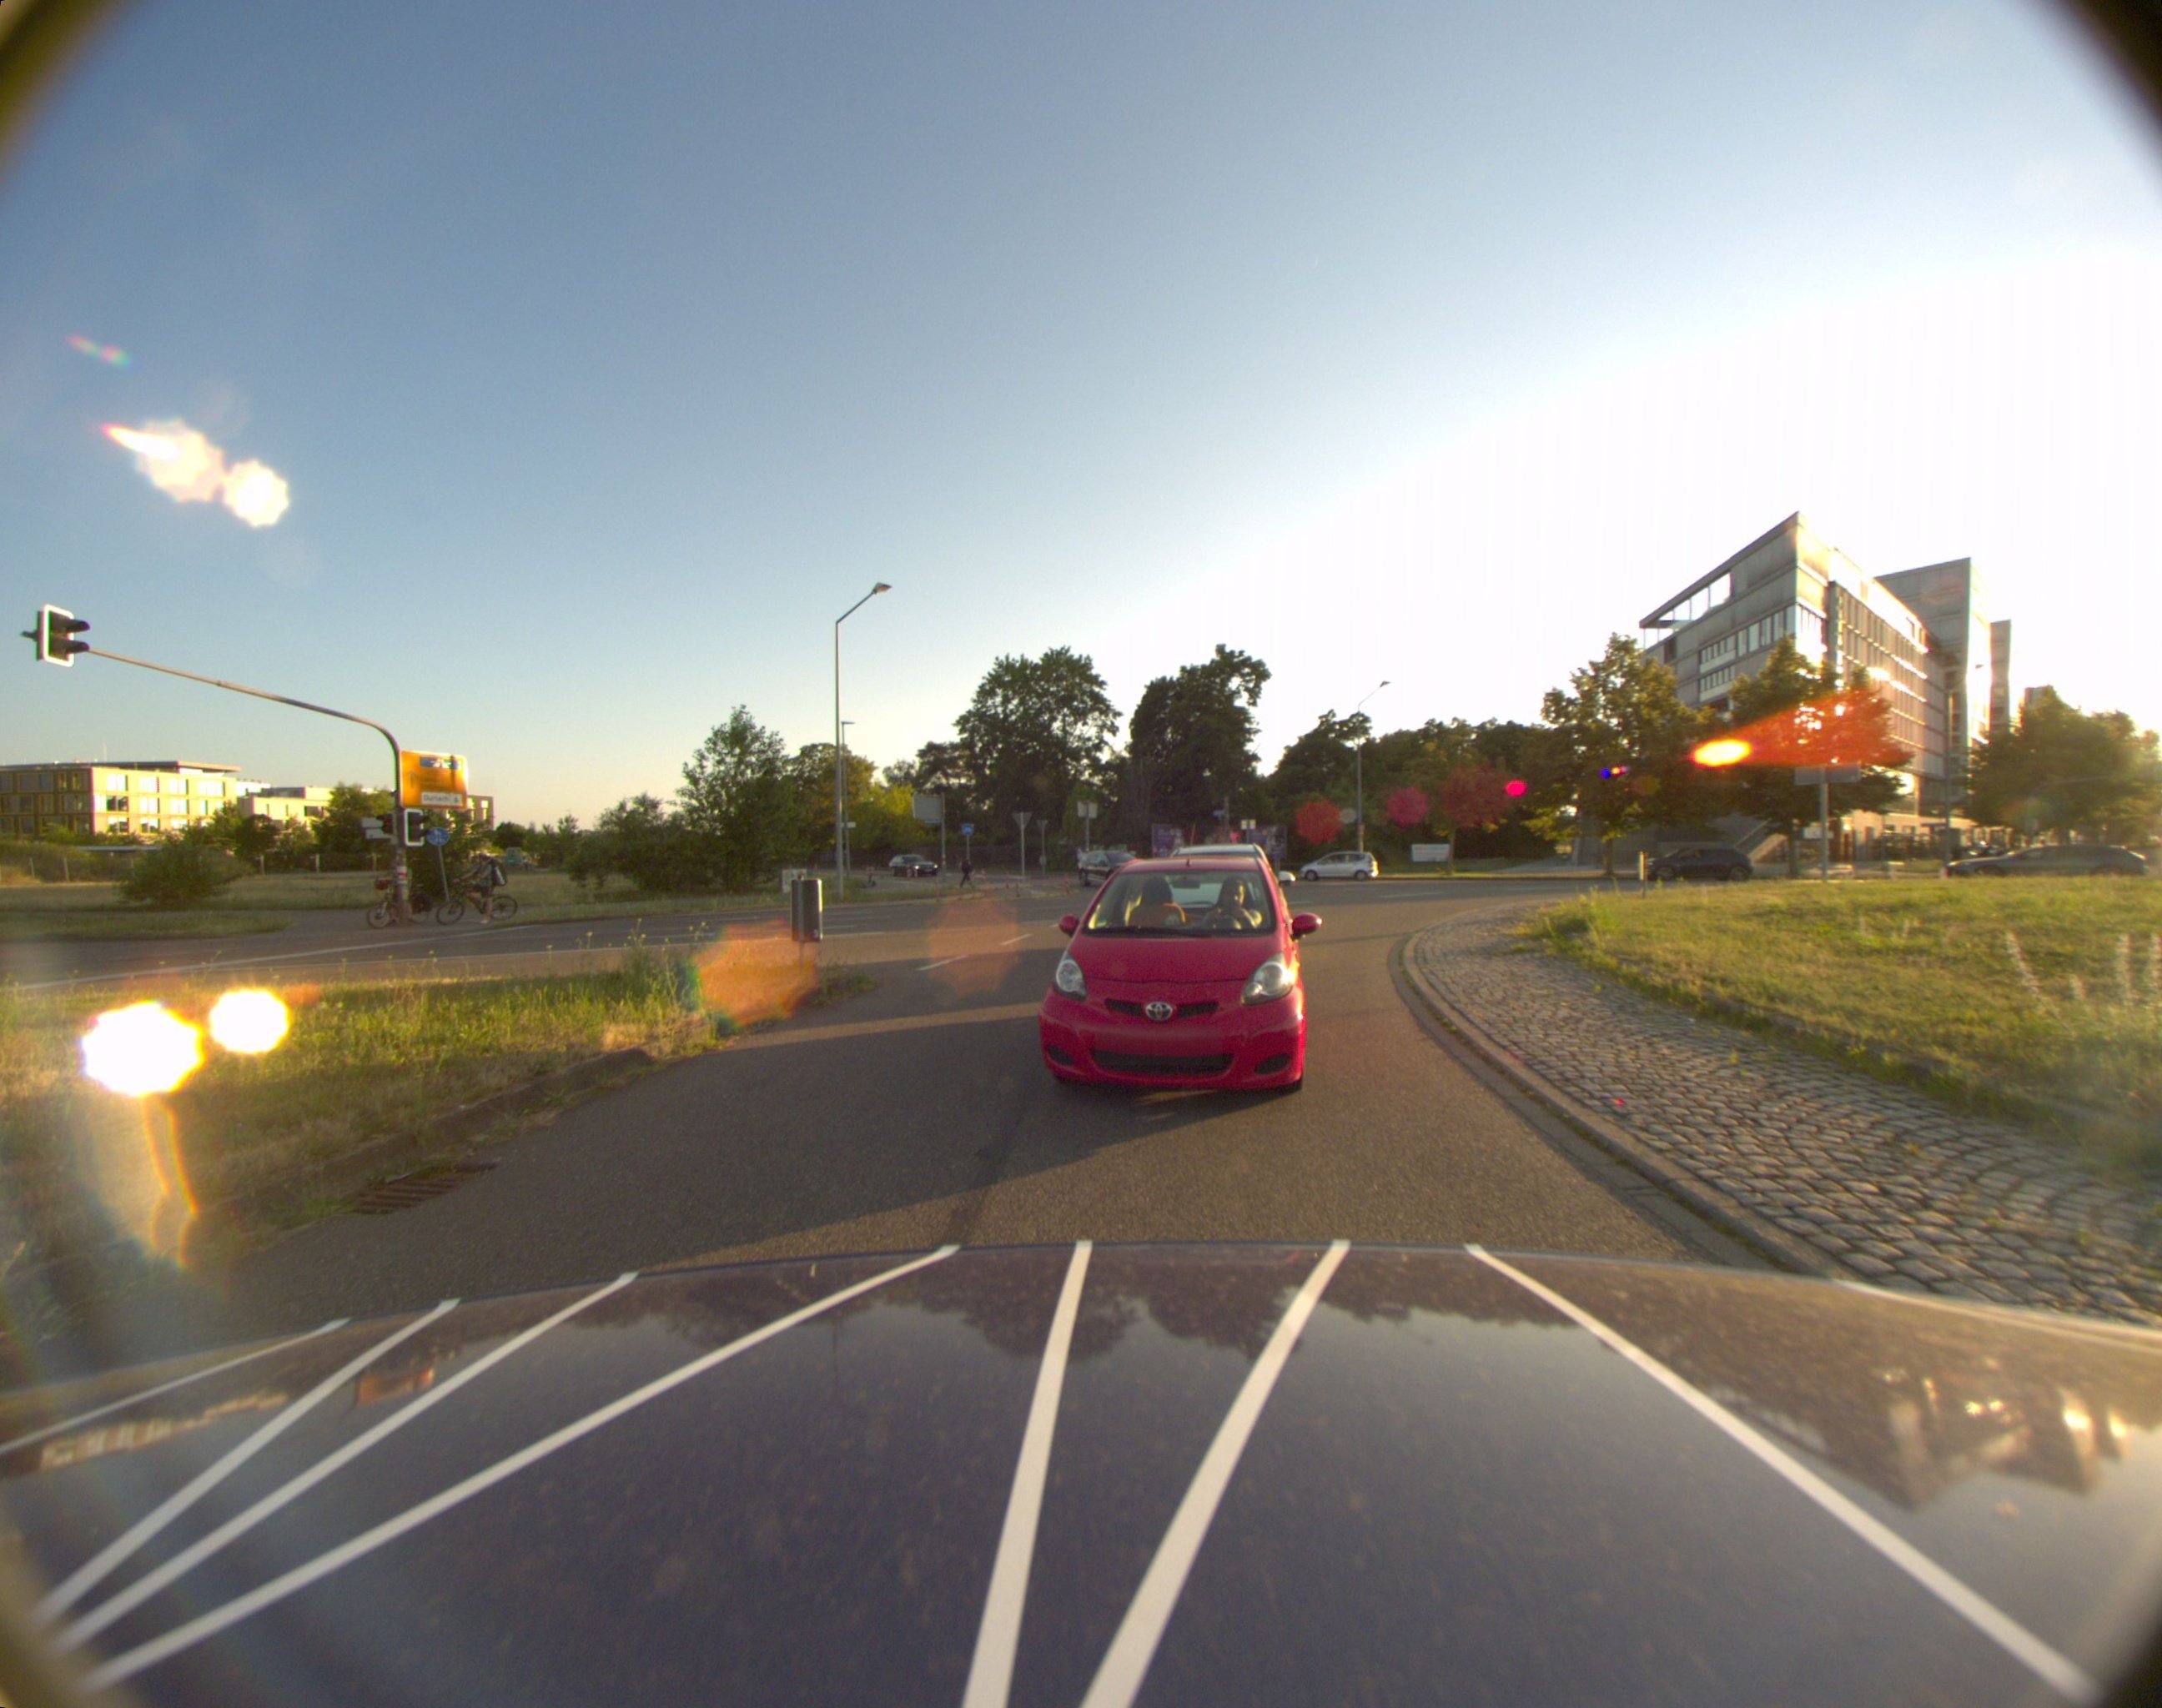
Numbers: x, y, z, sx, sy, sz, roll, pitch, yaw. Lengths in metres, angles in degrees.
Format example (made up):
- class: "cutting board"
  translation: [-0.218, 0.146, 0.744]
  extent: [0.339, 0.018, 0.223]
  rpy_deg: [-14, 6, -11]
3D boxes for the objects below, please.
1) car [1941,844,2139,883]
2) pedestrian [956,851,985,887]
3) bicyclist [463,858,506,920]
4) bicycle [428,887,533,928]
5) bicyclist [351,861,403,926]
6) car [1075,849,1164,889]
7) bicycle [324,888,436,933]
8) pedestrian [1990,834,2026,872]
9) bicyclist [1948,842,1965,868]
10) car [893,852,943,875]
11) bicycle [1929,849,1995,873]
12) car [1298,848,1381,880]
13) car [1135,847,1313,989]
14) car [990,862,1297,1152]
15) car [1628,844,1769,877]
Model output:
- class: "car"
  translation: [36.343, 0.357, 29.011]
  extent: [4.339, 1.368, 2.004]
  rpy_deg: [0, 1, 38]
- class: "pedestrian"
  translation: [-5.095, 0.680, 35.035]
  extent: [0.993, 1.581, 0.924]
  rpy_deg: [-2, 1, -35]
- class: "bicyclist"
  translation: [-16.625, 0.954, 21.184]
  extent: [0.723, 1.680, 0.690]
  rpy_deg: [0, 1, 29]
- class: "bicycle"
  translation: [-16.643, 1.469, 21.128]
  extent: [0.708, 0.957, 2.149]
  rpy_deg: [0, 1, 28]
- class: "bicyclist"
  translation: [-18.832, 1.049, 20.331]
  extent: [0.724, 1.680, 0.690]
  rpy_deg: [-1, 1, 13]
- class: "car"
  translation: [1.612, 0.600, 33.386]
  extent: [2.003, 1.588, 4.304]
  rpy_deg: [-1, 1, -27]
- class: "bicycle"
  translation: [-18.772, 1.489, 20.420]
  extent: [0.708, 0.958, 2.109]
  rpy_deg: [-1, 3, 16]
- class: "pedestrian"
  translation: [50.392, -0.048, 41.320]
  extent: [0.776, 2.002, 0.998]
  rpy_deg: [-2, 2, -10]
- class: "bicyclist"
  translation: [48.007, 0.057, 41.651]
  extent: [0.693, 1.432, 0.610]
  rpy_deg: [-2, 2, -41]
- class: "car"
  translation: [-11.244, 0.630, 52.289]
  extent: [2.003, 1.477, 3.990]
  rpy_deg: [-2, 1, -33]
- class: "bicycle"
  translation: [48.116, 0.378, 41.509]
  extent: [0.744, 1.237, 2.341]
  rpy_deg: [-2, 1, -39]
- class: "car"
  translation: [13.365, 0.497, 39.277]
  extent: [3.883, 1.571, 1.957]
  rpy_deg: [-1, 1, 24]
- class: "car"
  translation: [1.955, 0.721, 10.842]
  extent: [1.997, 1.597, 4.200]
  rpy_deg: [-1, 1, 9]
- class: "car"
  translation: [0.807, 0.833, 6.112]
  extent: [1.686, 1.412, 4.004]
  rpy_deg: [-1, 1, 14]
- class: "car"
  translation: [26.793, 0.271, 33.163]
  extent: [4.374, 1.368, 2.003]
  rpy_deg: [-1, 1, 21]
